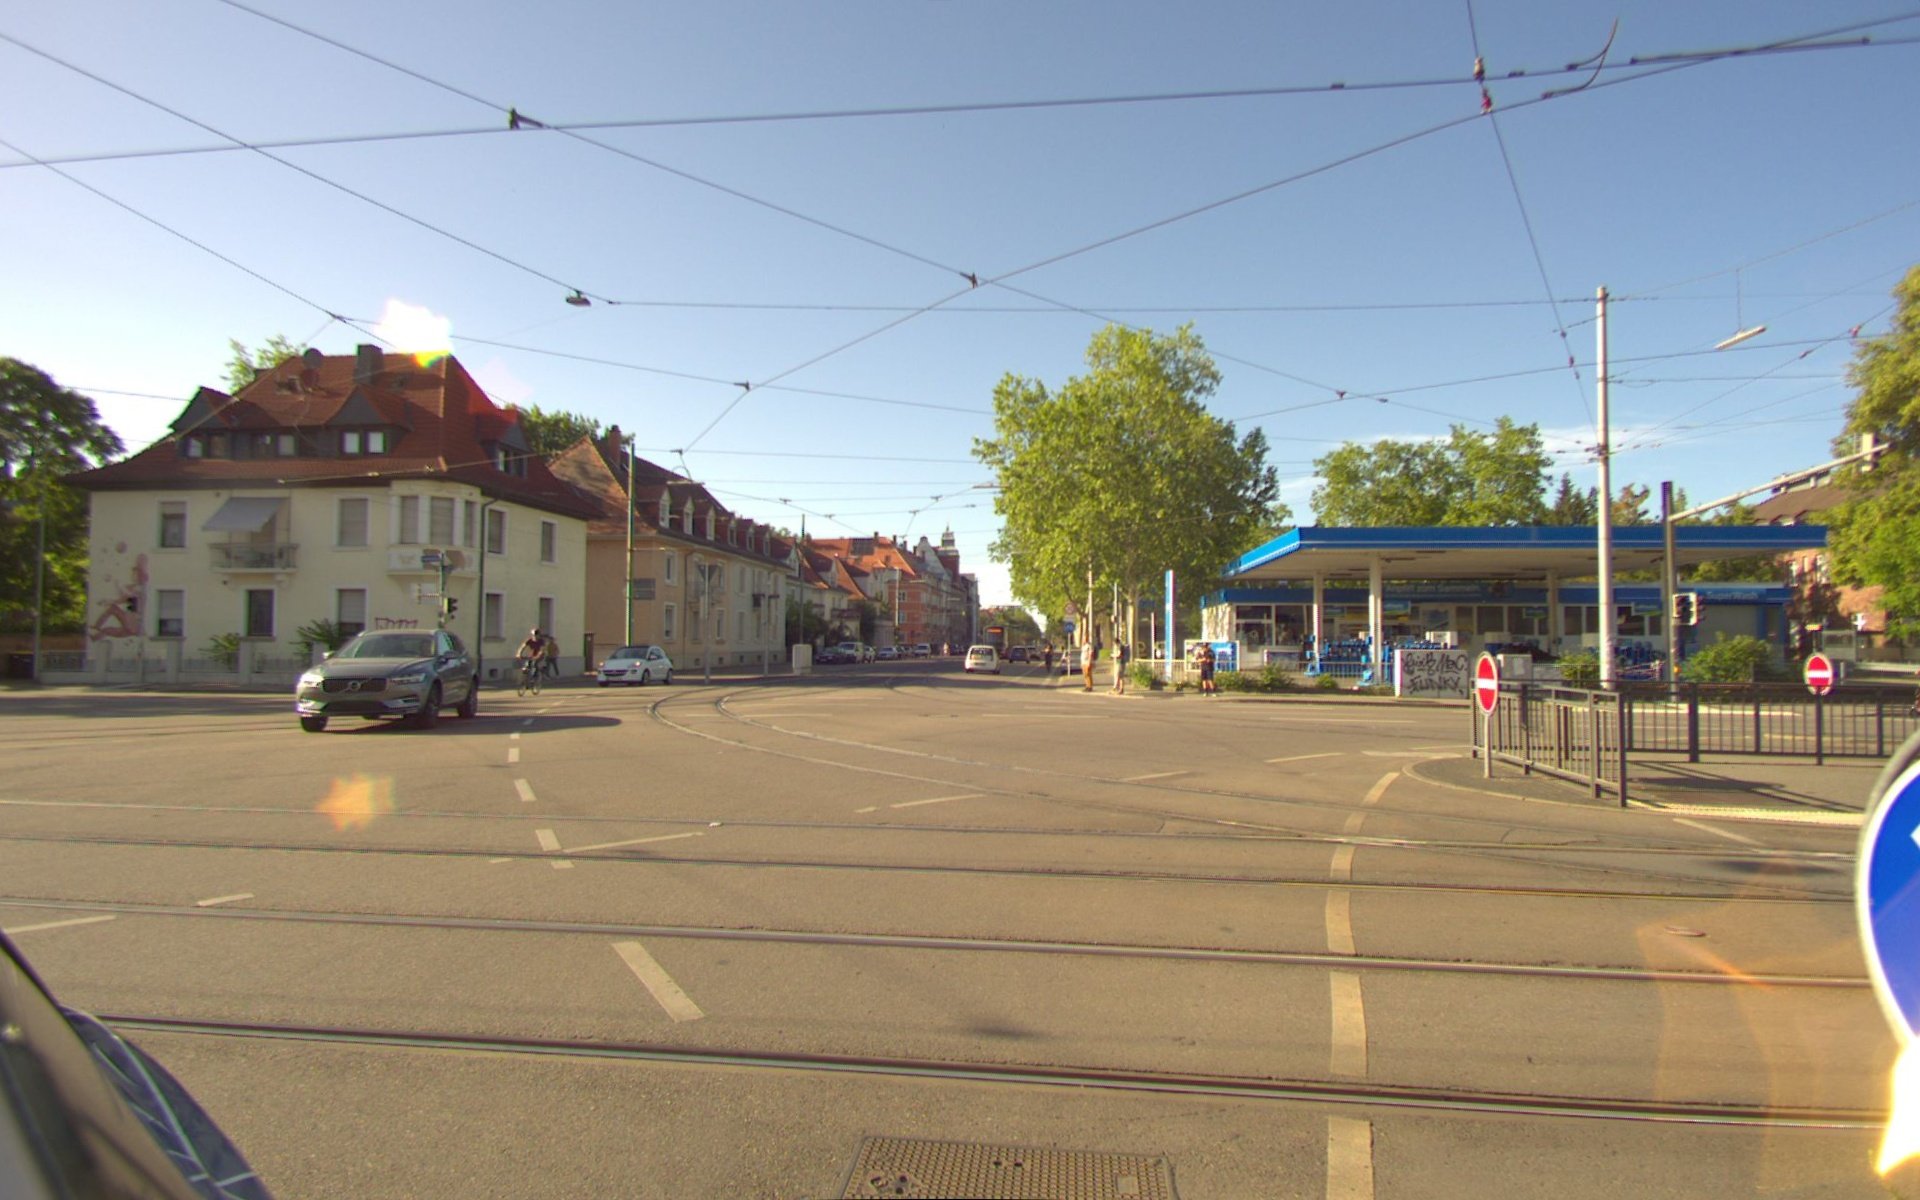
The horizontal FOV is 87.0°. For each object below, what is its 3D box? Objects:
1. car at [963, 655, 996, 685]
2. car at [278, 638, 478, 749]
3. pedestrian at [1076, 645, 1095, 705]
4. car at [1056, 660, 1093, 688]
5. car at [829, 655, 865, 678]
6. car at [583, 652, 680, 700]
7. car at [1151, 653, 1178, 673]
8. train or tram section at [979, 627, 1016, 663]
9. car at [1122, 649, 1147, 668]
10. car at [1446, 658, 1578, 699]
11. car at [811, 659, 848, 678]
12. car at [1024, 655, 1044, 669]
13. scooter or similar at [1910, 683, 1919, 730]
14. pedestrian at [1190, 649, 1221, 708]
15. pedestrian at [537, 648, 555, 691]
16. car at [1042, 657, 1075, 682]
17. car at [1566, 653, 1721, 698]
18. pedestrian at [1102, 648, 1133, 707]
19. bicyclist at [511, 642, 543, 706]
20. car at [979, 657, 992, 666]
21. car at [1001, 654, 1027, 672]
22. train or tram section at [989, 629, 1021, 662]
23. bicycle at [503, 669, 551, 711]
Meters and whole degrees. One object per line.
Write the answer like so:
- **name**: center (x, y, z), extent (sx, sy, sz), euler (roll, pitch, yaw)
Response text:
- **car**: center (1.017, 3.636, 53.208), extent (1.700, 1.508, 3.582), euler (0, -3, 1)
- **car**: center (-9.726, 1.502, 17.336), extent (1.886, 1.643, 4.515), euler (1, -3, -16)
- **pedestrian**: center (4.105, 2.450, 33.067), extent (0.624, 1.940, 0.583), euler (0, -3, 7)
- **car**: center (6.536, 4.195, 57.601), extent (1.761, 1.436, 3.526), euler (-3, -4, 10)
- **car**: center (-9.801, 5.738, 87.932), extent (1.911, 1.859, 5.301), euler (0, -3, 7)
- **car**: center (-11.948, 2.733, 37.134), extent (1.894, 1.643, 4.497), euler (0, -3, 3)
- **car**: center (16.175, 4.950, 80.238), extent (1.861, 1.497, 3.990), euler (0, -3, 8)
- **train or tram section**: center (4.049, 4.818, 107.562), extent (3.028, 3.641, 12.088), euler (0, -3, 6)
- **car**: center (13.962, 4.690, 81.210), extent (1.861, 1.497, 3.990), euler (0, -3, 8)
- **car**: center (21.601, 3.060, 39.756), extent (4.168, 1.497, 1.714), euler (0, -3, 7)
- **car**: center (-10.578, 5.530, 82.135), extent (1.863, 1.497, 3.987), euler (0, -3, 10)
- **car**: center (8.030, 6.714, 109.883), extent (1.861, 1.497, 3.990), euler (0, -3, 8)
- **scooter or similar**: center (24.922, 2.690, 25.444), extent (1.459, 1.191, 0.463), euler (0, -3, 8)
- **pedestrian**: center (7.358, 2.346, 30.310), extent (0.743, 1.742, 0.728), euler (-4, -4, 21)
- **pedestrian**: center (-17.351, 2.909, 42.428), extent (0.592, 1.774, 0.488), euler (1, -3, -11)
- **car**: center (6.266, 4.379, 64.129), extent (1.761, 1.436, 3.299), euler (-3, -4, 10)
- **car**: center (24.082, 2.643, 35.777), extent (4.168, 1.497, 1.714), euler (0, -3, 7)
- **pedestrian**: center (4.941, 2.424, 31.812), extent (0.740, 1.815, 0.733), euler (-1, -3, 31)
- **bicyclist**: center (-11.910, 2.026, 27.876), extent (0.591, 1.732, 0.663), euler (1, -3, -4)
- **car**: center (4.189, 9.997, 165.329), extent (1.860, 1.497, 3.994), euler (0, -3, 5)
- **car**: center (4.594, 5.282, 85.452), extent (1.861, 1.497, 3.990), euler (0, -3, 8)
- **train or tram section**: center (5.379, 5.437, 119.736), extent (3.028, 3.641, 12.476), euler (0, -3, 6)
- **bicycle**: center (-11.909, 2.452, 27.866), extent (0.591, 1.065, 1.992), euler (1, -3, -5)
